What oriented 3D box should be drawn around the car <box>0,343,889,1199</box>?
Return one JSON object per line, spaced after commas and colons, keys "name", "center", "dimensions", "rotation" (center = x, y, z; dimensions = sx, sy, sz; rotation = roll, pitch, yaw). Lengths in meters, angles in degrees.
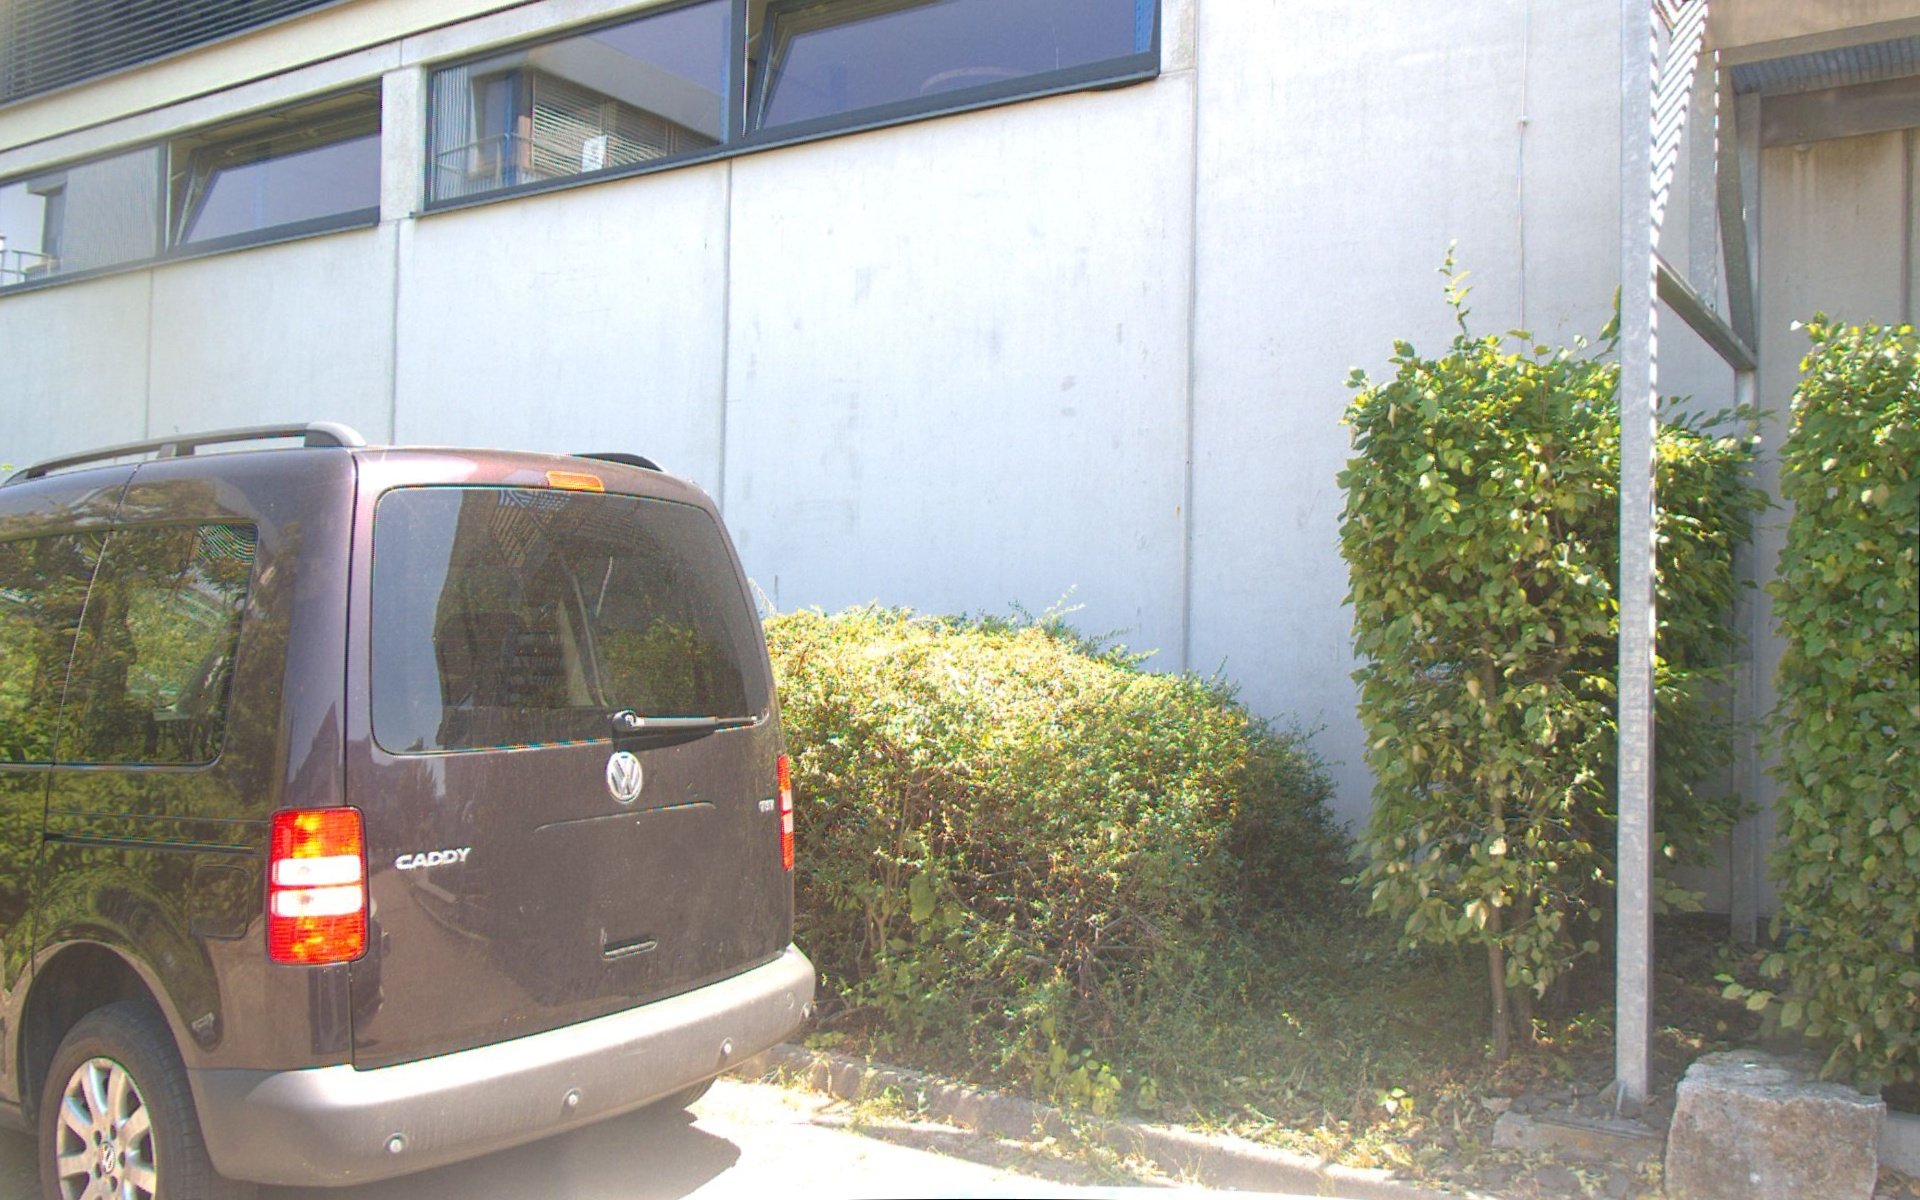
{"name": "car", "center": [-2.301, 0.480, 4.854], "dimensions": [3.988, 1.917, 1.673], "rotation": [0, 0, 34]}
